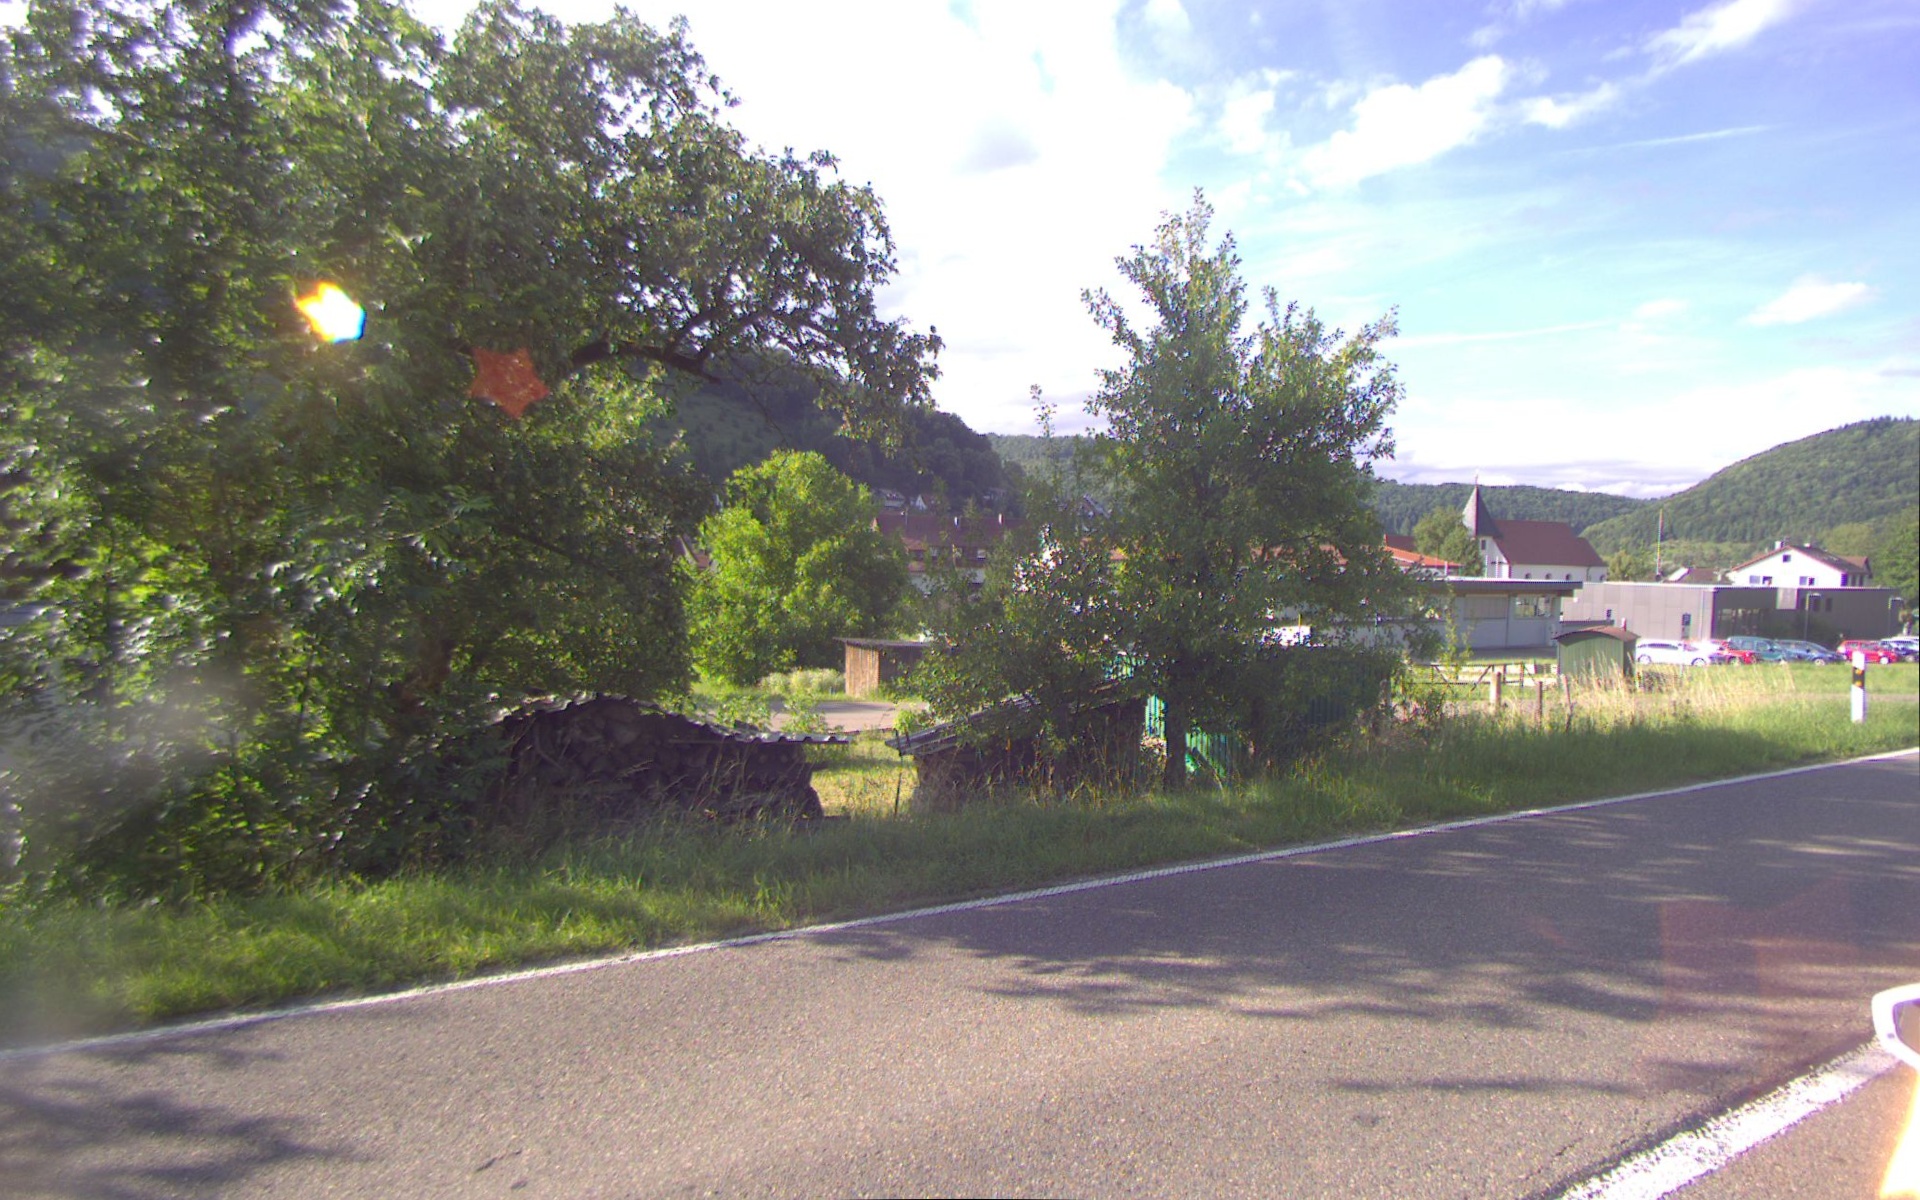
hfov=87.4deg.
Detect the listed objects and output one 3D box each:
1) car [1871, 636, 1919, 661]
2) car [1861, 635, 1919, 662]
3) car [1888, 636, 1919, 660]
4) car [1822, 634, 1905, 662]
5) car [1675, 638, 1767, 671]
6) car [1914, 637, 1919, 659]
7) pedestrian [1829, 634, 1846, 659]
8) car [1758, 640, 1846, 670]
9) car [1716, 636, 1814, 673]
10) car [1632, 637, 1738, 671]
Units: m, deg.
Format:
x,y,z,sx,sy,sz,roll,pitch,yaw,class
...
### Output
x,y,z,sx,sy,sz,roll,pitch,yaw,class
70.358,3.590,74.385,1.979,1.733,3.963,2,0,-33,car
67.542,3.491,72.046,1.979,1.733,3.963,2,0,-33,car
73.156,3.684,76.030,1.979,1.733,3.963,2,0,-33,car
63.261,3.353,70.408,1.979,1.733,3.963,2,0,-33,car
45.609,3.232,60.286,1.979,1.733,3.963,2,0,-33,car
78.025,3.848,79.031,1.979,1.733,3.963,2,0,-33,car
72.038,3.798,82.470,0.962,2.040,0.821,2,0,-32,pedestrian
54.247,3.517,64.791,1.979,1.733,3.963,2,0,-33,car
50.465,3.394,63.060,1.979,2.034,4.380,2,0,-33,car
42.613,3.136,59.151,1.979,1.733,4.702,2,0,-33,car
